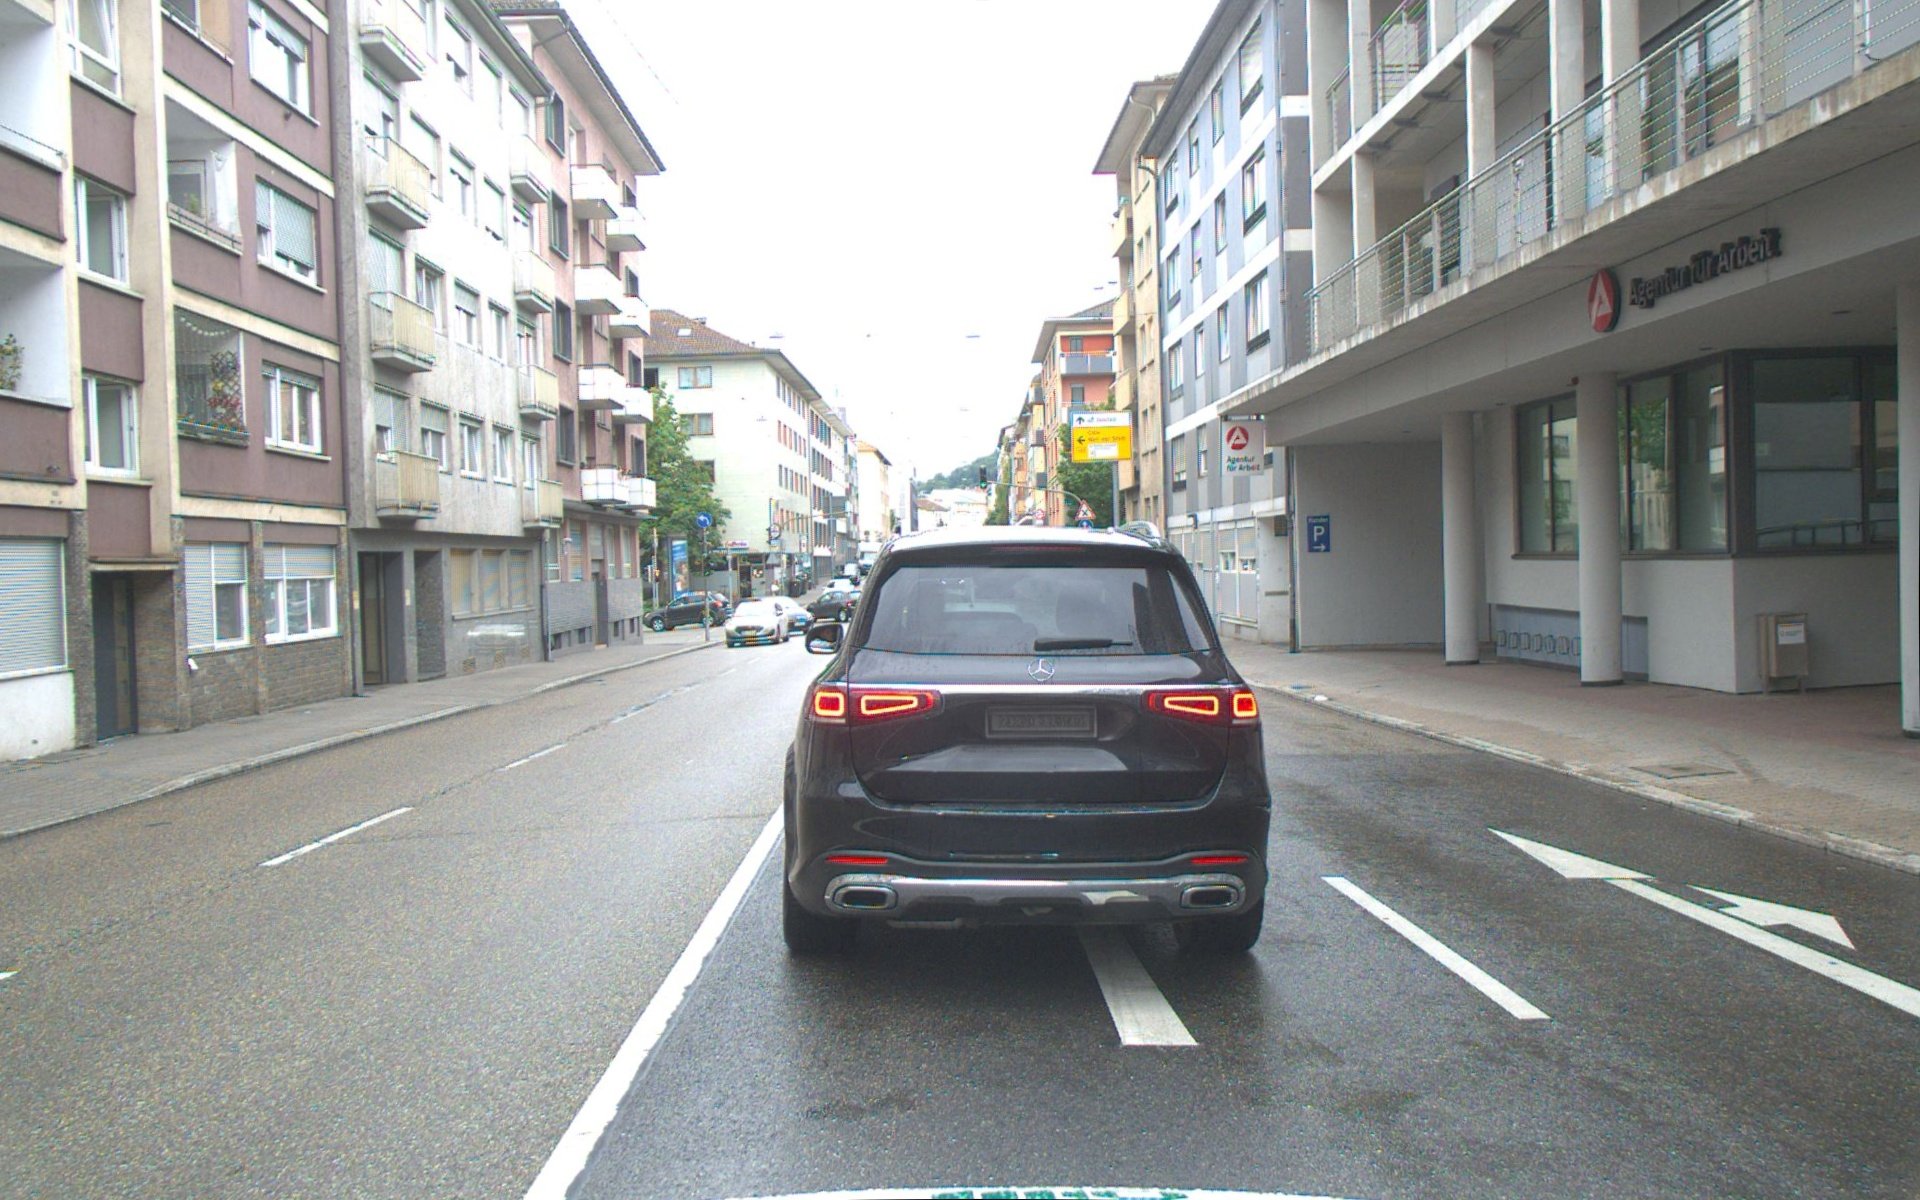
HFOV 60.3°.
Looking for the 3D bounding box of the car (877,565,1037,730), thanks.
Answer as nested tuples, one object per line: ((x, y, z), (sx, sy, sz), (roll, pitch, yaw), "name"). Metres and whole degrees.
((-0.133, 0.535, 20.175), (1.716, 1.762, 4.215), (1, 0, -3), "car")

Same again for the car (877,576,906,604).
((-4.184, -0.569, 100.515), (1.586, 1.566, 4.215), (-3, 0, -3), "car")

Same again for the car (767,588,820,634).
((-6.811, 0.414, 67.318), (1.740, 1.674, 4.401), (-4, 1, -10), "car")

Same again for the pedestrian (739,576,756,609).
((-13.020, -0.467, 101.244), (0.905, 1.935, 0.706), (-2, 0, -3), "pedestrian")

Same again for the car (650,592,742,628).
((-13.216, 0.493, 82.977), (4.114, 1.566, 1.822), (-3, 0, 11), "car")

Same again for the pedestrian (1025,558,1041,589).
((4.816, -1.757, 109.411), (0.905, 2.049, 0.706), (-2, 0, -3), "pedestrian")

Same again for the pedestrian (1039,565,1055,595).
((5.366, -1.216, 102.056), (0.905, 1.836, 0.706), (-2, 0, -3), "pedestrian")

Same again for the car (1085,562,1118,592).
((8.040, -1.310, 94.091), (1.636, 1.616, 3.331), (-2, 1, 1), "car")

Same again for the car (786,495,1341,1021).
((0.340, 0.573, 8.056), (1.944, 1.836, 4.389), (1, 0, -1), "car")

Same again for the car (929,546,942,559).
((-3.234, -6.222, 217.471), (1.586, 1.566, 4.216), (-3, 2, -3), "car")

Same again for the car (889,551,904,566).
((-7.381, -4.799, 192.951), (1.586, 1.566, 4.216), (-3, 3, -3), "car")

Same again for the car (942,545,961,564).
((-0.865, -4.681, 170.007), (1.689, 1.790, 4.216), (-3, 1, -3), "car")

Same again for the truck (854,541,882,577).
((-8.699, -3.930, 156.285), (2.430, 3.098, 9.916), (-3, 3, -3), "truck")

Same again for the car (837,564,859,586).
((-8.889, -1.987, 131.035), (1.586, 1.566, 4.215), (-3, 0, -3), "car")

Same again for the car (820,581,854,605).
((-7.378, -0.406, 99.326), (1.848, 1.286, 4.215), (-3, 0, -3), "car")

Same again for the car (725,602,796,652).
((-6.847, 0.909, 57.108), (1.736, 1.566, 4.360), (-3, 0, 1), "car")

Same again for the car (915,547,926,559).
((-5.974, -7.088, 249.507), (1.586, 1.565, 4.216), (-3, 3, -3), "car")
